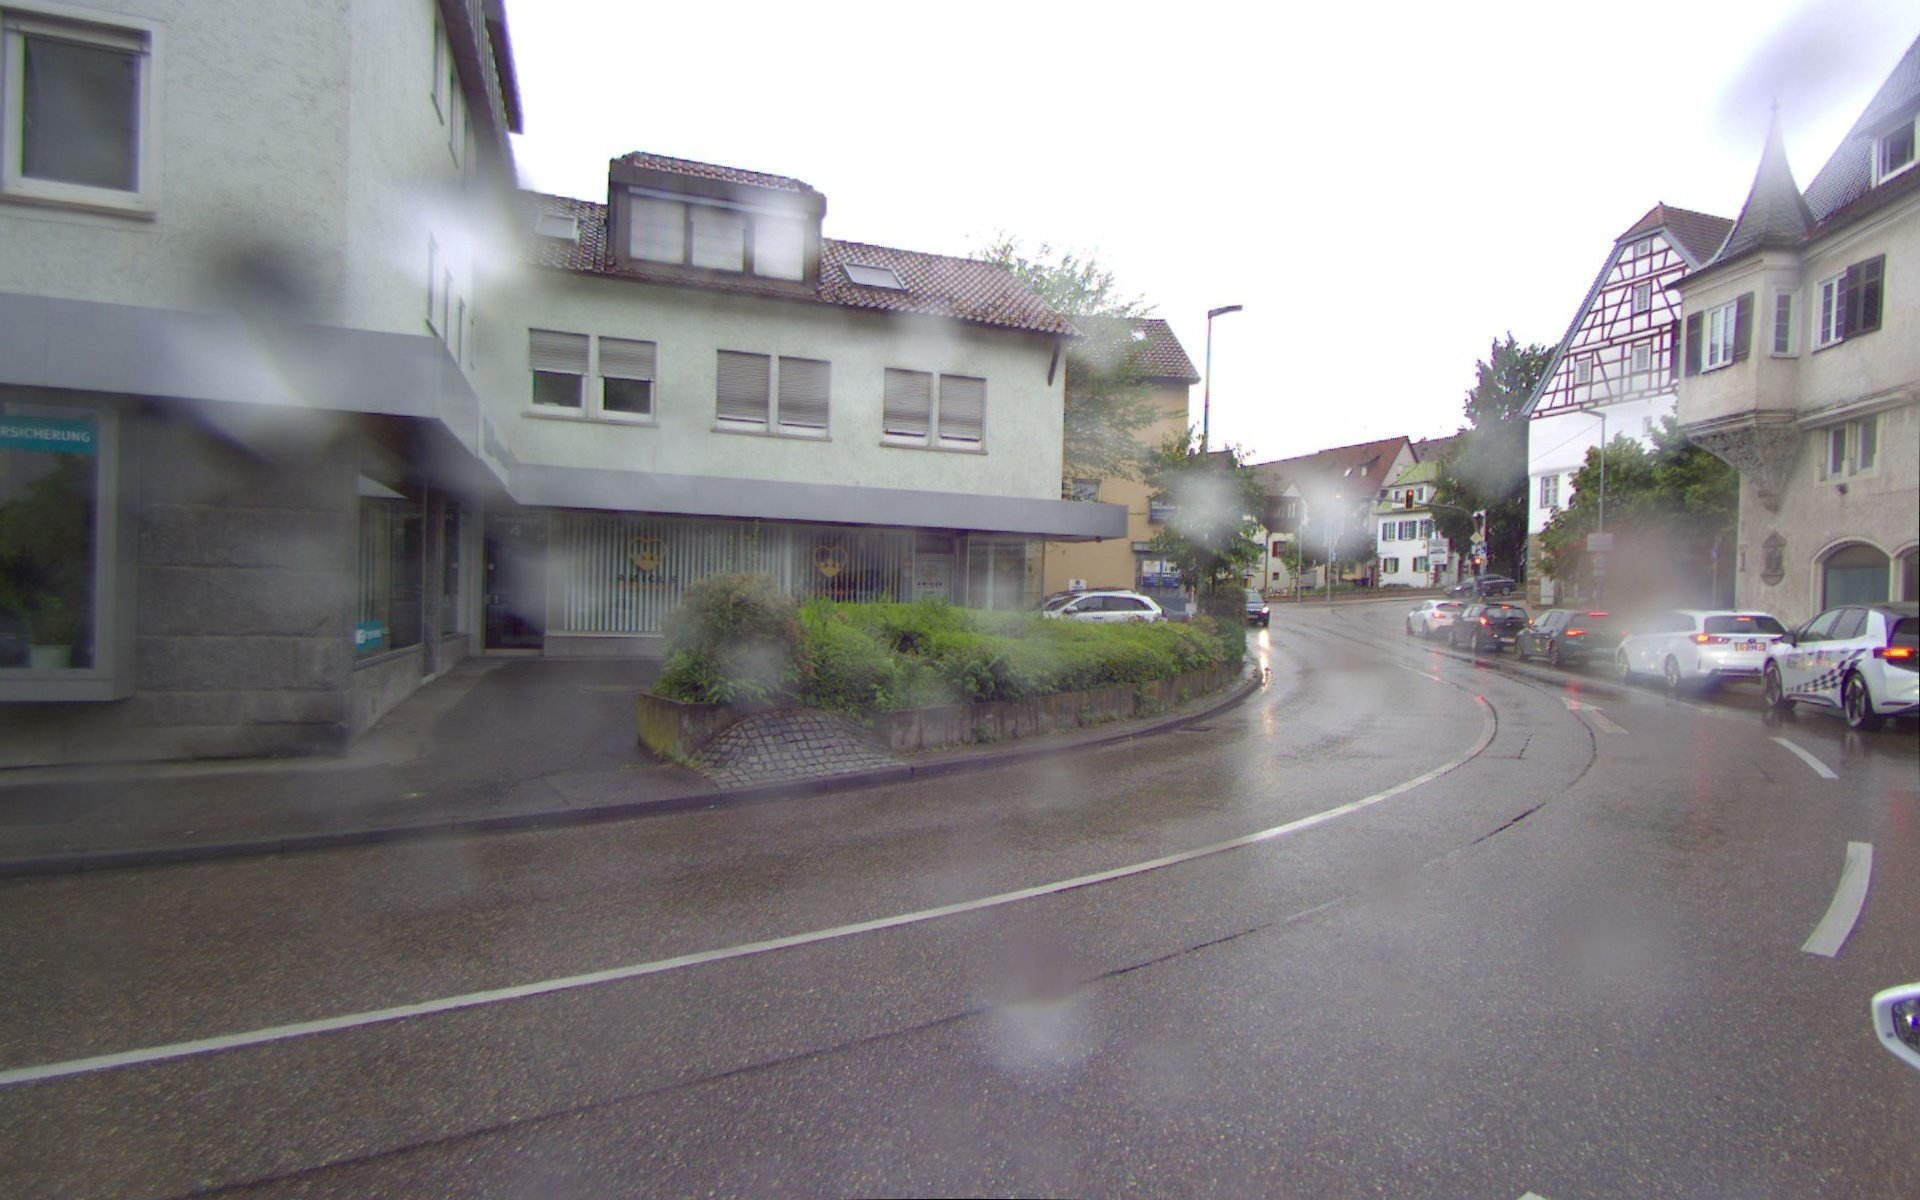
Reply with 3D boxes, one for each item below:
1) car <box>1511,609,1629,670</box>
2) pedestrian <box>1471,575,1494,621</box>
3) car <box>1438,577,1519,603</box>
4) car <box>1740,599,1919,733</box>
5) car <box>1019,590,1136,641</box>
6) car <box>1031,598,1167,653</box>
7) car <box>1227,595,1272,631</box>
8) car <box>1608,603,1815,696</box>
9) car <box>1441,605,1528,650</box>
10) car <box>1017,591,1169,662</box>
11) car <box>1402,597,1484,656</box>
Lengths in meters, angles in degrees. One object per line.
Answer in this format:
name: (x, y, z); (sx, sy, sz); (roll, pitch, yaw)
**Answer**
car: (15.657, 0.959, 25.976); (1.493, 1.380, 3.769); (-1, 1, 13)
pedestrian: (27.427, -0.099, 52.764); (0.851, 2.357, 1.231); (1, 0, 18)
car: (33.519, -0.661, 64.972); (4.446, 1.409, 1.648); (1, 7, -8)
car: (12.135, 0.775, 13.306); (1.760, 1.537, 4.239); (-1, -1, 22)
car: (3.804, 0.498, 32.693); (3.472, 1.597, 1.710); (0, 1, -8)
car: (3.874, 0.683, 28.242); (3.472, 1.475, 1.710); (0, 1, -8)
car: (12.887, 0.608, 44.917); (1.702, 1.530, 4.276); (-1, -1, 13)
car: (13.954, 0.838, 18.956); (1.755, 1.485, 4.165); (-1, 1, 16)
car: (16.896, 0.851, 32.528); (1.634, 1.330, 3.625); (-1, 1, 13)
car: (3.289, 0.632, 25.191); (3.472, 1.708, 1.710); (0, 1, -8)
car: (18.663, 0.988, 38.985); (1.939, 2.118, 3.963); (-1, 1, 11)
